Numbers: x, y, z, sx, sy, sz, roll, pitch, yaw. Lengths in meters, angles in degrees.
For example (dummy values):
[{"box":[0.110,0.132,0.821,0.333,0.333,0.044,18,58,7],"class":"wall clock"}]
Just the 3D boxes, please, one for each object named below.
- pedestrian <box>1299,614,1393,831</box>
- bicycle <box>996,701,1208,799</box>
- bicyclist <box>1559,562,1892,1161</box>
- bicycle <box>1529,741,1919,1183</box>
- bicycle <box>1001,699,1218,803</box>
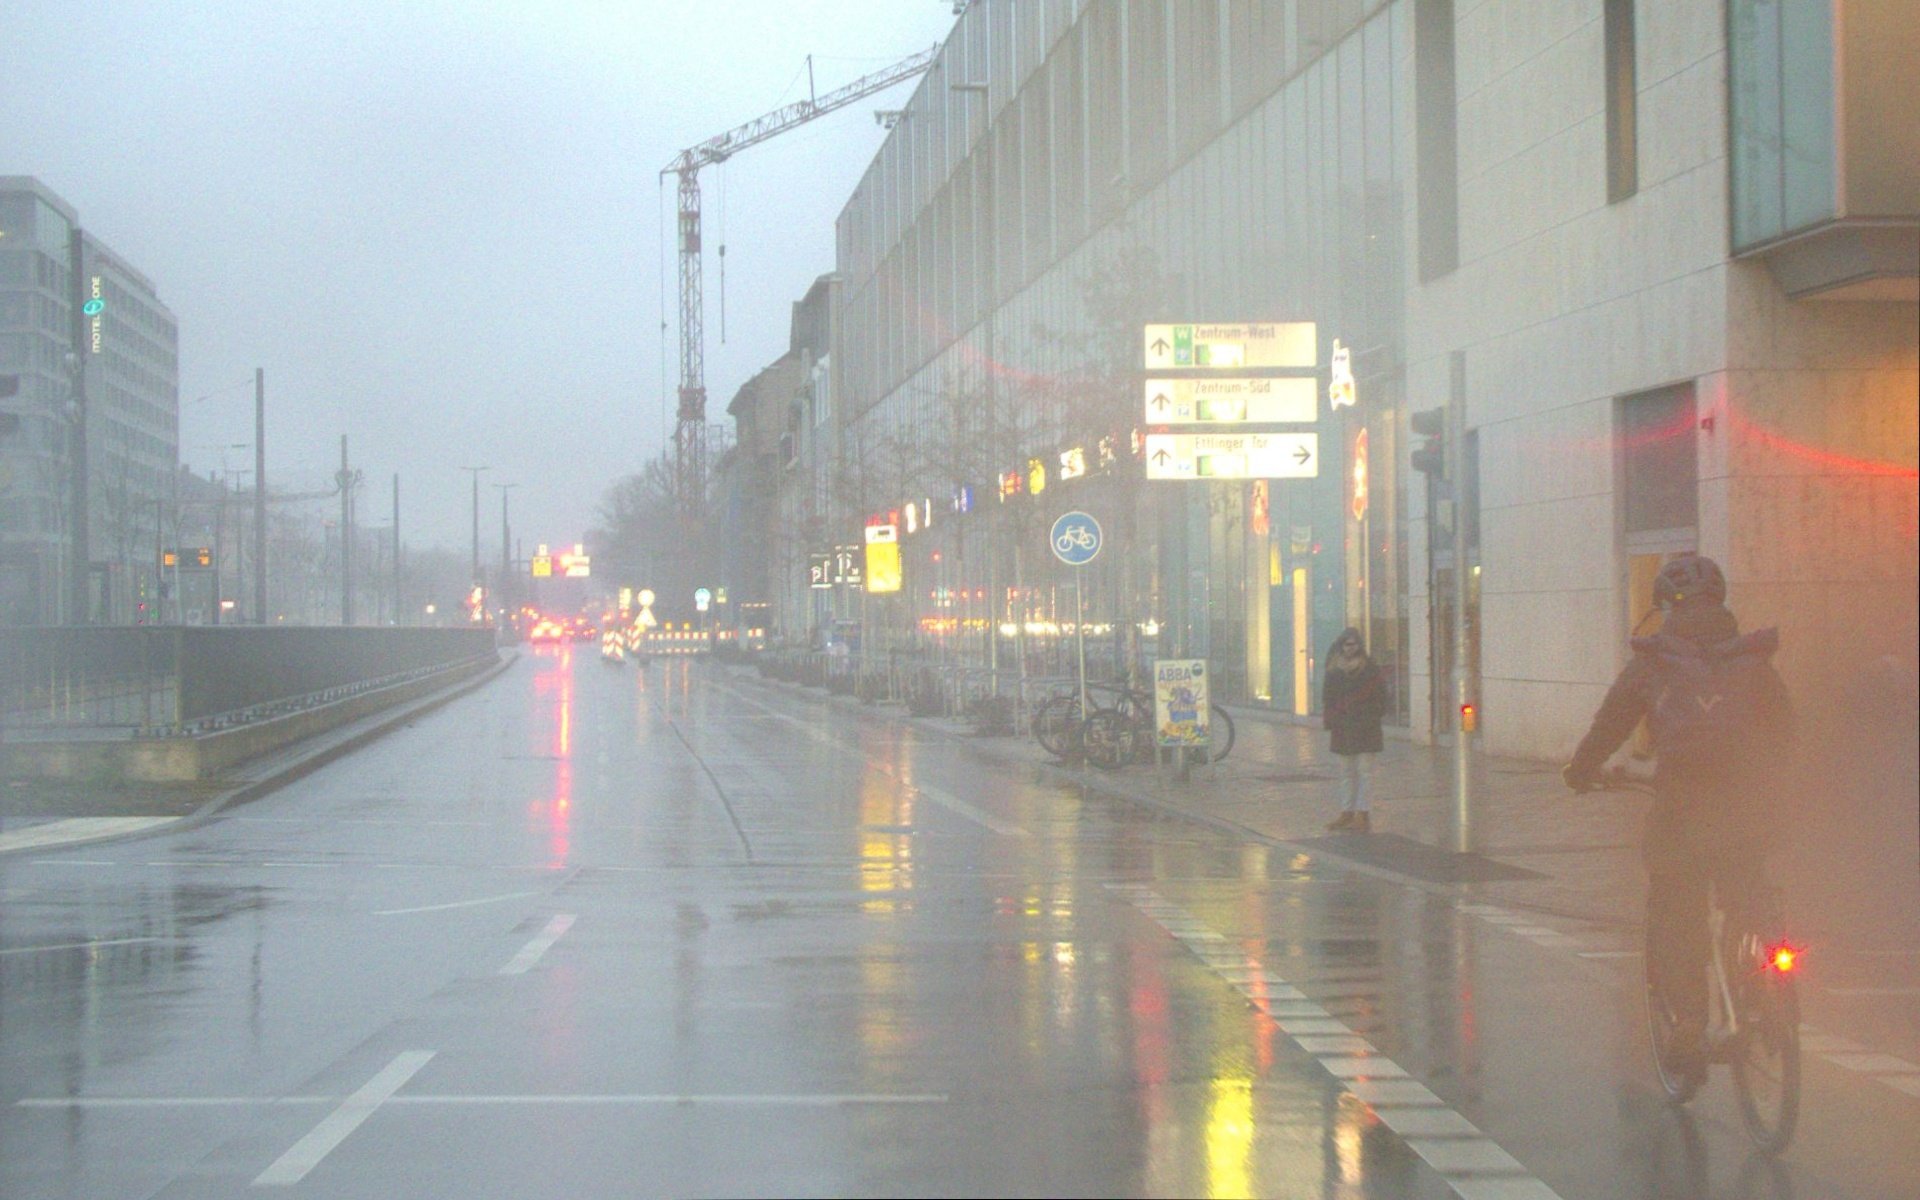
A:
[{"box":[3.066,0.967,27.349,0.636,1.703,0.573,-1,-1,-4],"class":"pedestrian"},{"box":[1.665,1.765,40.583,2.425,1.095,0.712,-1,-1,-4],"class":"bicycle"},{"box":[2.205,0.720,10.006,0.702,1.654,0.964,0,0,-3],"class":"bicyclist"},{"box":[2.211,0.999,10.029,0.708,1.090,1.784,0,0,-3],"class":"bicycle"},{"box":[1.720,1.744,39.804,2.442,1.150,0.674,-1,-1,-4],"class":"bicycle"}]
